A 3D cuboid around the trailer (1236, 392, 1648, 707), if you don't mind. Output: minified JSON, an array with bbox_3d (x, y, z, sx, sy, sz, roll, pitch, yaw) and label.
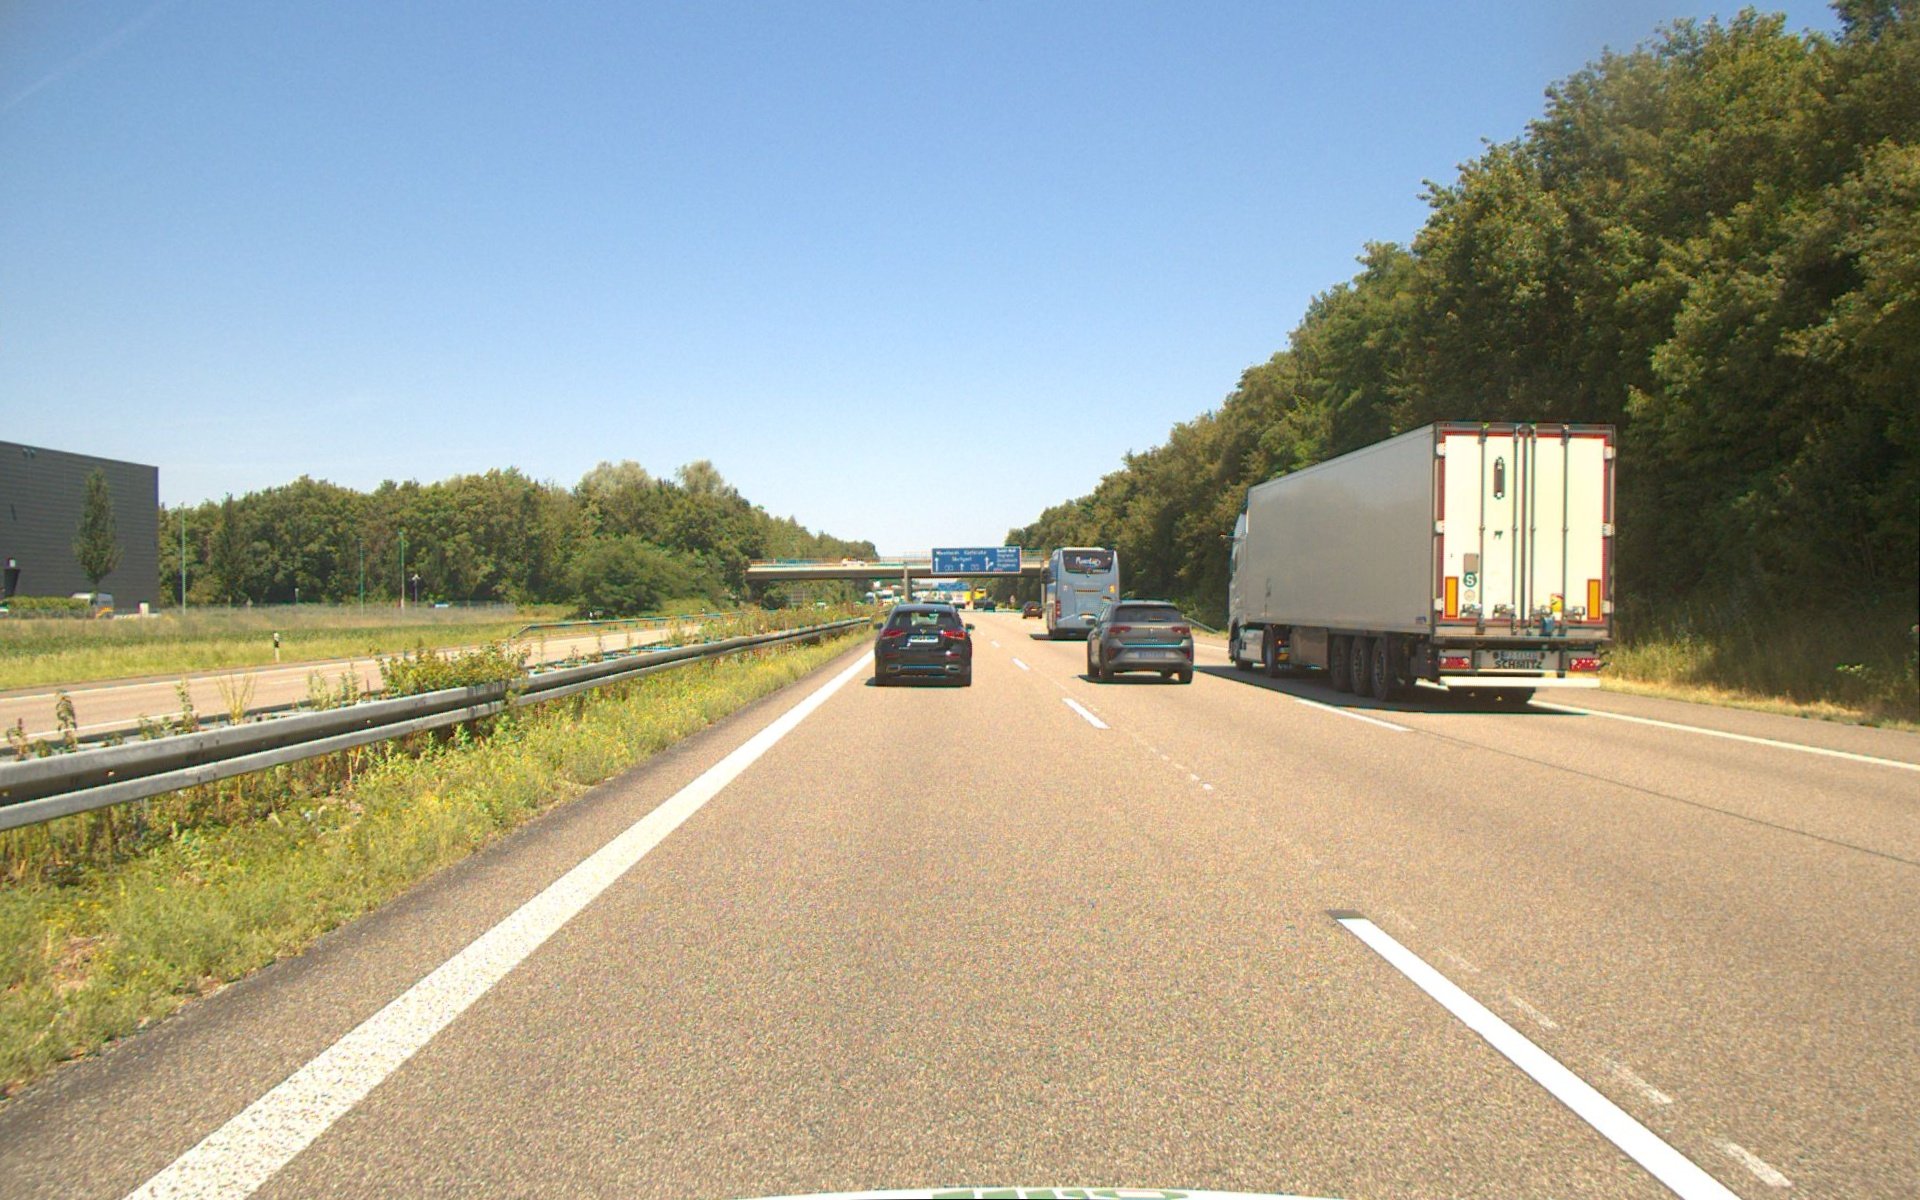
[{"bbox_3d":[7.804,-0.698,29.707,2.978,4.298,13.831,1,0,-2],"label":"trailer"}]

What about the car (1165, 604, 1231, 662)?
[{"bbox_3d":[9.306,1.255,64.882,1.861,2.157,4.240,1,0,-2],"label":"car"}]

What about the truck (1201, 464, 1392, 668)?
[{"bbox_3d":[7.563,-0.721,38.002,2.986,4.289,6.046,1,0,-2],"label":"truck"}]
